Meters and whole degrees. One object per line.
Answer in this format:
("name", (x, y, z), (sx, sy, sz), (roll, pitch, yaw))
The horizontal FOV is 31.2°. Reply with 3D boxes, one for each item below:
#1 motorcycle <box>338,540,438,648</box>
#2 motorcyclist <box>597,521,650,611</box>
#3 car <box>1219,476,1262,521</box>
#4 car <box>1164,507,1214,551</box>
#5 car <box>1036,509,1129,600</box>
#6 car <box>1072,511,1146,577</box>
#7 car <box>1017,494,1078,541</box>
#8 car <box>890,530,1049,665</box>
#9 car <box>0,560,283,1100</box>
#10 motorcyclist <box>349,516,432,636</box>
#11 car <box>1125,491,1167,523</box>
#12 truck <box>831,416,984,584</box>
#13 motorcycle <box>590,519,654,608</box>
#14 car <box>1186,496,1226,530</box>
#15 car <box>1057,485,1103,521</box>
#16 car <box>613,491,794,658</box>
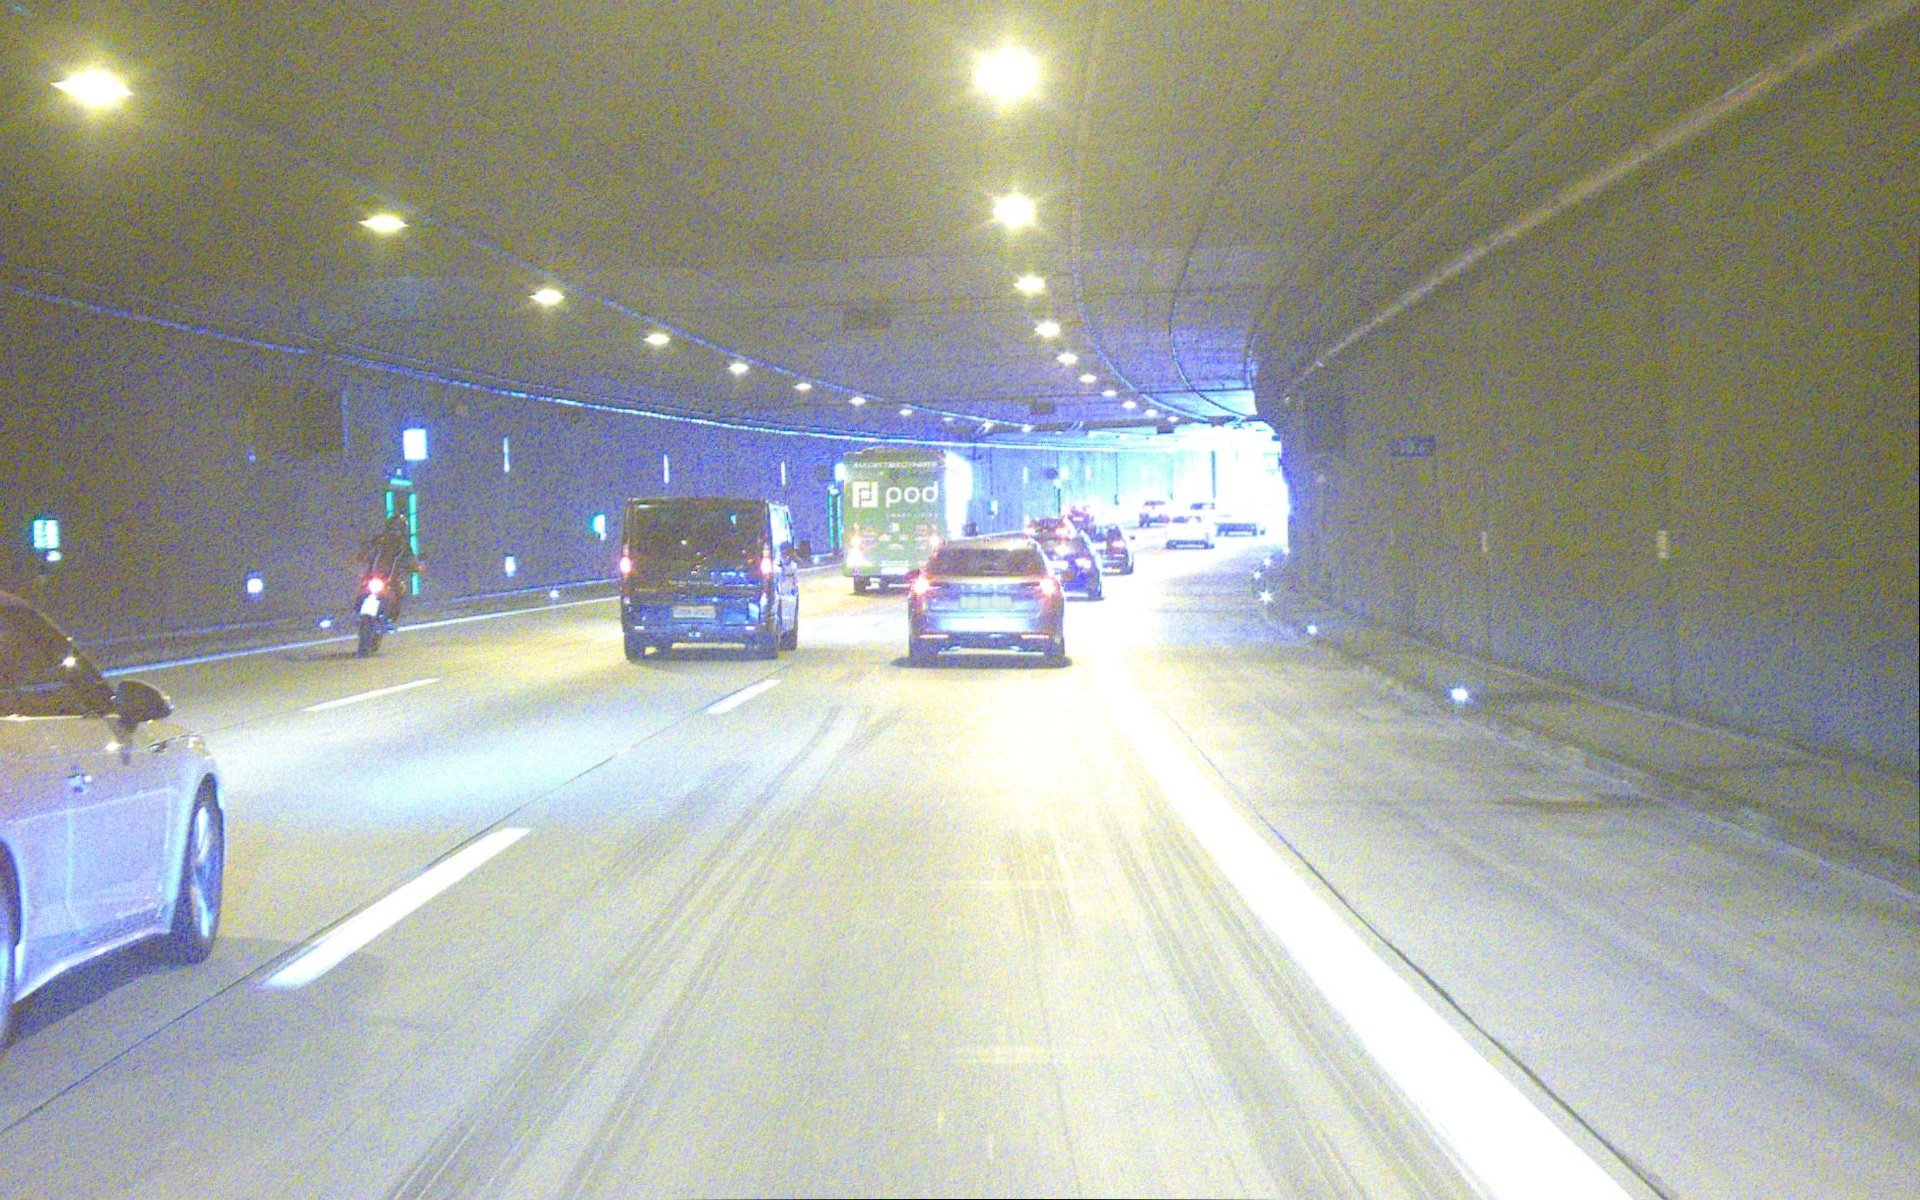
("motorcycle", (-7.011, -0.077, 42.237), (0.683, 1.292, 2.398), (0, 0, 4))
("motorcyclist", (-5.585, -0.557, 57.130), (0.806, 1.443, 1.865), (0, -1, -3))
("car", (13.340, -4.828, 163.498), (1.994, 2.007, 3.999), (0, 0, 5))
("car", (9.078, -2.794, 136.644), (1.931, 1.637, 3.999), (0, 0, 3))
("car", (2.568, -0.956, 71.641), (1.857, 1.848, 4.000), (0, 1, 2))
("car", (4.212, -1.572, 97.608), (1.950, 1.766, 4.000), (0, 0, 1))
("car", (3.192, -2.981, 124.764), (1.994, 1.626, 3.999), (0, 1, 5))
("car", (0.158, -0.070, 40.567), (1.742, 1.459, 3.871), (0, 2, 2))
("car", (-3.451, 0.613, 10.719), (1.702, 1.414, 5.060), (0, 1, 0))
("motorcyclist", (-6.995, -0.289, 42.274), (0.777, 1.447, 1.069), (0, 0, 4))
("car", (10.224, -5.109, 188.875), (1.931, 1.637, 3.998), (0, 0, 9))
("truck", (-1.117, -2.245, 78.872), (3.039, 3.660, 7.392), (0, 1, 3))
("motorcycle", (-5.600, -0.588, 57.152), (0.926, 1.429, 2.964), (1, 0, -3))
("car", (12.727, -4.490, 177.853), (1.994, 1.626, 3.999), (0, 0, 5))
("car", (5.733, -4.603, 163.592), (1.931, 1.637, 3.999), (0, 1, 6))
("car", (-3.108, -0.364, 42.356), (1.909, 1.937, 3.871), (0, 2, 0))
